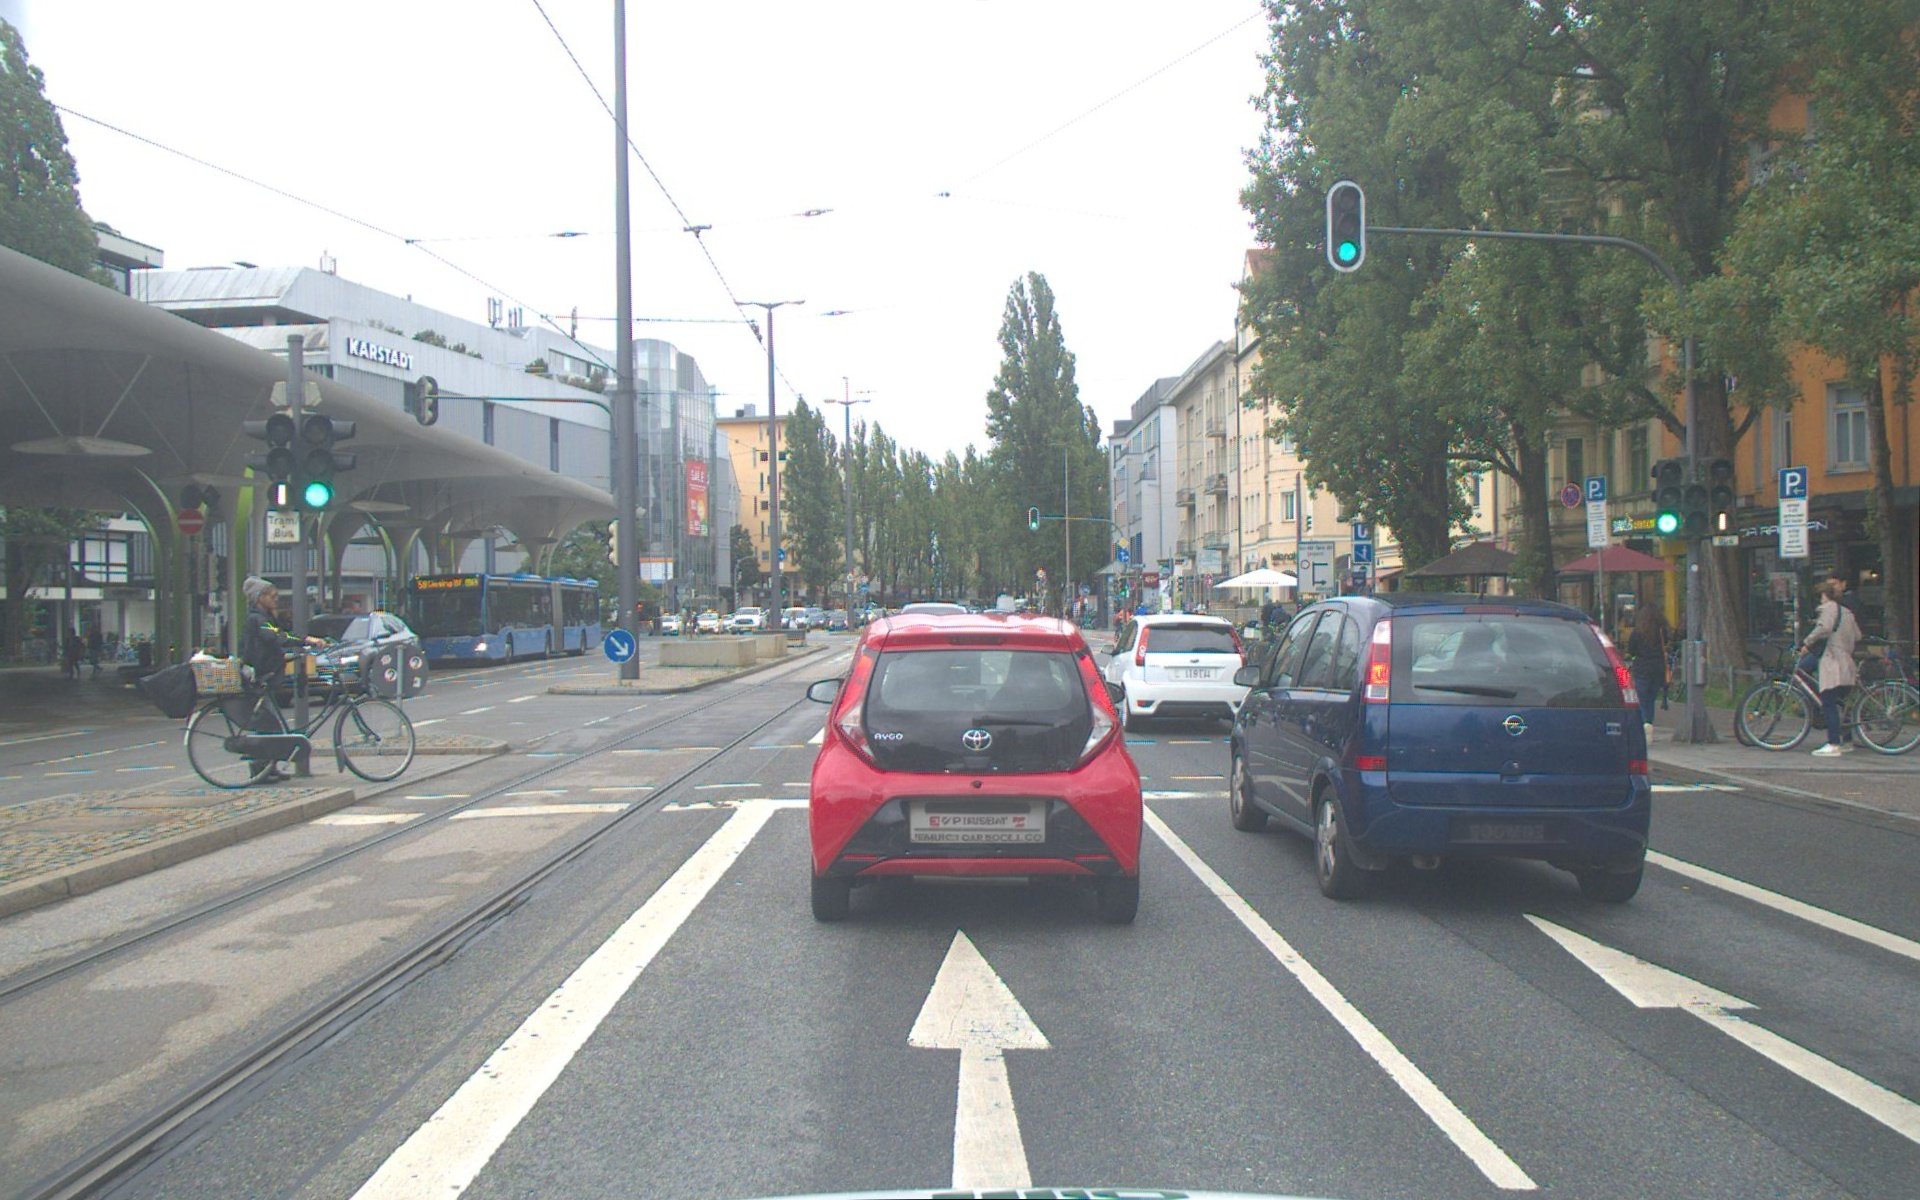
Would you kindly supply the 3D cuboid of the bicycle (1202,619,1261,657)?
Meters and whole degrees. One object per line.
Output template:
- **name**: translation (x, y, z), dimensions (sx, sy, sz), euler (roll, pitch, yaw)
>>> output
- **bicycle**: translation (7.777, 1.082, 47.423), dimensions (1.809, 1.013, 0.323), euler (1, 1, 42)

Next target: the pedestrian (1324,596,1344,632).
- **pedestrian**: translation (15.512, 0.575, 68.556), dimensions (0.662, 1.447, 0.616), euler (-1, -1, -1)

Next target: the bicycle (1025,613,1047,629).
- **bicycle**: translation (4.958, 1.358, 108.005), dimensions (0.495, 1.046, 1.576), euler (-1, 0, -42)

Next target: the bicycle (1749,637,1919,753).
- **bicycle**: translation (8.995, 0.944, 16.812), dimensions (0.356, 1.122, 1.716), euler (-1, -1, -45)

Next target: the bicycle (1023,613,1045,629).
- **bicycle**: translation (4.875, 1.357, 108.860), dimensions (0.495, 1.046, 1.576), euler (-1, 0, -42)

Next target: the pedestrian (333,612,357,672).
- **pedestrian**: translation (-18.325, 1.242, 49.300), dimensions (0.555, 1.774, 0.753), euler (-1, 0, -15)

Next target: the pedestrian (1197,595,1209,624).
- **pedestrian**: translation (14.300, 0.552, 97.295), dimensions (0.554, 1.700, 0.562), euler (-1, 3, 22)

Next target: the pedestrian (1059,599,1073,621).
- **pedestrian**: translation (7.902, 0.746, 122.879), dimensions (0.795, 1.549, 0.797), euler (-1, 0, -13)

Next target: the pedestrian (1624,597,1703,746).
- **pedestrian**: translation (7.744, 0.771, 18.236), dimensions (0.744, 1.590, 0.763), euler (-1, 0, 19)

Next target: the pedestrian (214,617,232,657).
- **pedestrian**: translation (-30.622, 1.516, 68.706), dimensions (0.562, 1.639, 0.546), euler (-1, 0, -10)

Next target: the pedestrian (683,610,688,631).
- **pedestrian**: translation (-20.346, 1.508, 122.571), dimensions (0.347, 1.594, 0.270), euler (-1, 0, -12)

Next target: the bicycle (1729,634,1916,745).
- **bicycle**: translation (9.131, 0.936, 17.546), dimensions (1.709, 1.122, 0.358), euler (-2, -1, 34)

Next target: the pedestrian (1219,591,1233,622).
- **pedestrian**: translation (15.526, 0.381, 96.568), dimensions (0.636, 1.782, 0.635), euler (-2, 3, -9)

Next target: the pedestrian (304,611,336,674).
- **pedestrian**: translation (-18.286, 1.201, 47.266), dimensions (0.701, 1.752, 0.878), euler (-1, 0, -13)

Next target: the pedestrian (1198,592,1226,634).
- **pedestrian**: translation (10.809, 0.562, 71.031), dimensions (0.867, 1.773, 0.854), euler (-1, -1, -17)

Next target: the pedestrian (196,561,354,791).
- **pedestrian**: translation (-5.676, 0.615, 13.746), dimensions (0.840, 1.843, 0.898), euler (0, -1, 13)

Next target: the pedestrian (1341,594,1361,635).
- **pedestrian**: translation (16.036, 0.581, 67.824), dimensions (0.602, 1.661, 0.677), euler (-1, -1, -1)

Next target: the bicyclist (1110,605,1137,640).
- **bicyclist**: translation (7.866, 1.085, 79.614), dimensions (0.608, 1.686, 1.237), euler (-1, 0, -32)

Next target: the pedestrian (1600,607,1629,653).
- **pedestrian**: translation (18.897, 0.860, 47.779), dimensions (0.571, 1.303, 0.583), euler (-1, -1, -2)

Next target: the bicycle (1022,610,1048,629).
- **bicycle**: translation (4.948, 1.276, 109.521), dimensions (1.773, 1.219, 0.555), euler (-1, 0, 43)

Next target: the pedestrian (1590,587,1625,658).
- **pedestrian**: translation (16.517, 0.574, 42.207), dimensions (0.588, 1.770, 0.666), euler (-1, -1, -1)

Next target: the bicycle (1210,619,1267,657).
- **bicycle**: translation (8.029, 1.087, 47.719), dimensions (0.322, 1.013, 1.813), euler (-1, 1, -43)

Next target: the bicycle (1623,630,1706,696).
- **bicycle**: translation (11.189, 0.986, 26.314), dimensions (0.577, 0.982, 1.653), euler (-1, 0, 0)

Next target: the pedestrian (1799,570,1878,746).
- **pedestrian**: translation (9.266, 0.590, 17.445), dimensions (0.686, 1.811, 0.649), euler (0, 0, 33)

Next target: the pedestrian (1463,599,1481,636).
- **pedestrian**: translation (18.785, 0.651, 60.680), dimensions (0.485, 1.355, 0.552), euler (-1, -1, -1)

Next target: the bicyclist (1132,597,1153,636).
- **bicyclist**: translation (9.134, 0.829, 82.784), dimensions (0.748, 1.902, 1.131), euler (-1, 0, -6)

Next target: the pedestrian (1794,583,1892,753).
- **pedestrian**: translation (8.976, 0.666, 16.813), dimensions (0.750, 1.666, 0.690), euler (-1, 1, -44)

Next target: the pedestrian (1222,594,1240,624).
- **pedestrian**: translation (16.579, 0.544, 101.104), dimensions (0.914, 1.786, 1.065), euler (-1, 0, 0)

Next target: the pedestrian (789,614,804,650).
- **pedestrian**: translation (-7.393, 1.443, 74.729), dimensions (0.513, 1.647, 0.461), euler (-2, -1, 43)

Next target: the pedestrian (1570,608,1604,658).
- **pedestrian**: translation (15.945, 0.836, 42.067), dimensions (0.588, 1.243, 0.666), euler (-1, 0, -1)

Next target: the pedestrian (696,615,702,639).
- **pedestrian**: translation (-19.350, 1.993, 122.665), dimensions (0.437, 1.790, 0.355), euler (-1, 0, -9)

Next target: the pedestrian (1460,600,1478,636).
- **pedestrian**: translation (18.980, 0.659, 61.653), dimensions (0.485, 1.312, 0.552), euler (-1, -1, -1)

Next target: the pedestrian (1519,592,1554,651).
- **pedestrian**: translation (16.605, 0.610, 47.619), dimensions (0.696, 1.661, 0.786), euler (-1, -1, -1)

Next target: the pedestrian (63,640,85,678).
- **pedestrian**: translation (-30.794, 2.033, 57.509), dimensions (0.569, 1.287, 0.512), euler (-1, 0, -40)

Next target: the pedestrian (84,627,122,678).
- **pedestrian**: translation (-30.677, 1.876, 59.214), dimensions (0.853, 1.760, 0.895), euler (-1, 0, 0)

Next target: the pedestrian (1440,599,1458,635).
- **pedestrian**: translation (18.224, 0.643, 61.695), dimensions (0.485, 1.312, 0.552), euler (-1, -1, -1)
